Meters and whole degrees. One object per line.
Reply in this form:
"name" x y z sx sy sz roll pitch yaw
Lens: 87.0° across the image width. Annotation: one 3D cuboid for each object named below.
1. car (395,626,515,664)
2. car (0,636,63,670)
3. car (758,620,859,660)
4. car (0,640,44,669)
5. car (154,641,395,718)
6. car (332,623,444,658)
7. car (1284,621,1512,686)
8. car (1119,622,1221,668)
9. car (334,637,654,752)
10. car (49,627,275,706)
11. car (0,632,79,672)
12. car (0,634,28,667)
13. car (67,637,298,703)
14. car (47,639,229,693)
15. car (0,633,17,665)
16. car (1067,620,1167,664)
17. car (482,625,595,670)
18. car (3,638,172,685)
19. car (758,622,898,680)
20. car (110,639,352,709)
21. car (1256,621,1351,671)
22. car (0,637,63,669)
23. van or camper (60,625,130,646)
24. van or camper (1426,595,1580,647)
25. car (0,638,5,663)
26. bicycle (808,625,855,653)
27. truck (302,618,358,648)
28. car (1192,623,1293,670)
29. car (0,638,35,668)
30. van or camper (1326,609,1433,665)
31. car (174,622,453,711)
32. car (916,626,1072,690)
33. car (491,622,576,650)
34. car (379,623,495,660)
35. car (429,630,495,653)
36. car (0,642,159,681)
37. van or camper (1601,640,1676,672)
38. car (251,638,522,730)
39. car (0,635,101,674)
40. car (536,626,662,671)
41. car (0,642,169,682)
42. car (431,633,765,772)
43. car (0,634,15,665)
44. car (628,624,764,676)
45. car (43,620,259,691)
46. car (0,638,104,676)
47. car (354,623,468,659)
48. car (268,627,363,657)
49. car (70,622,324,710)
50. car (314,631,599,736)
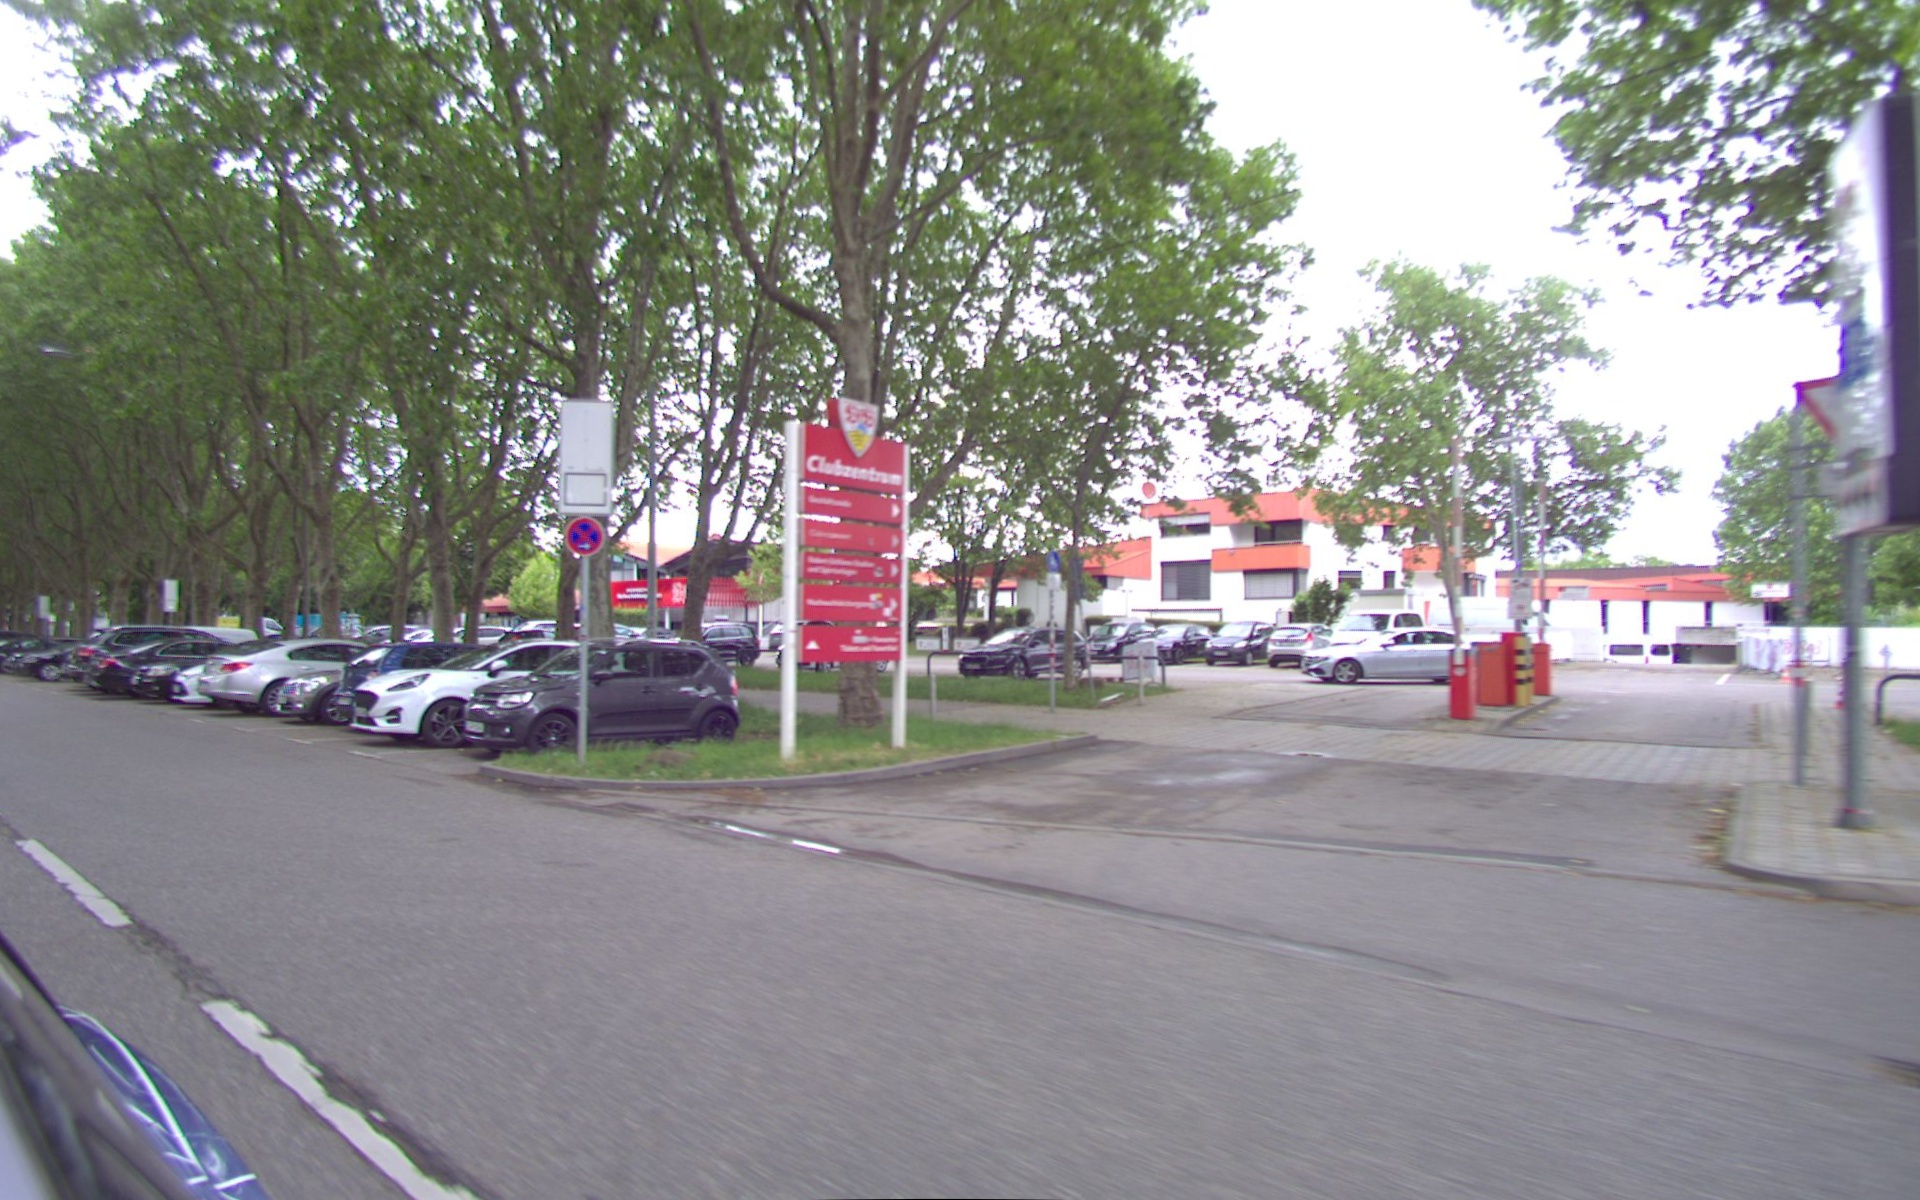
"car" -25.002 2.199 50.239 2.180 1.810 4.895 -2 -3 37
"car" -43.376 2.389 45.836 1.727 1.528 3.889 -2 -5 41
"car" -7.480 1.941 50.318 2.298 1.869 4.526 -1 -2 45
"car" -48.813 2.743 50.813 1.841 1.379 3.948 -1 -1 38
"car" -14.676 1.635 21.836 1.883 1.415 3.948 -1 -1 39
"car" -31.055 2.165 55.088 2.180 1.810 4.895 -1 -1 37
"car" 11.139 1.348 26.042 4.913 1.564 2.098 0 -1 4
"car" 7.812 1.609 37.336 1.957 1.560 4.278 -1 -1 39
"car" -6.856 1.294 15.160 1.912 1.395 3.950 -1 -2 43
"car" -20.571 1.634 26.226 2.035 1.809 4.274 -1 -1 40
"car" -41.503 2.296 44.493 1.750 1.721 3.892 -2 -4 38
"car" -51.083 2.623 52.446 1.855 1.695 3.946 -1 -2 41
"car" -18.767 1.718 24.575 2.012 1.463 4.085 -2 -6 41
"car" -24.226 1.948 29.971 1.757 1.483 3.757 -1 -4 29
"car" -53.048 2.661 53.932 1.855 1.695 3.946 -1 -2 41
"car" 6.086 1.576 38.893 1.957 1.560 4.278 -1 -1 39
"car" -19.067 2.102 45.918 2.026 1.875 4.278 -1 -1 39
"car" -28.267 2.030 32.861 1.755 1.432 3.935 -2 -5 43
"car" -4.224 1.603 32.951 2.129 1.722 4.278 -1 -1 39
"car" -16.670 1.621 23.313 1.964 1.364 4.149 -1 -1 38
"car" 11.773 1.520 34.537 1.788 1.560 4.177 -1 -1 38
"car" -44.865 2.495 47.540 1.704 1.497 3.948 -3 -5 44
"van or camper" -91.595 3.771 107.231 2.241 2.115 5.235 -1 -1 37
"van or camper" 22.362 0.877 41.813 5.297 2.029 1.974 -1 -1 39
"car" -58.439 2.999 58.947 1.855 1.464 3.946 -1 -1 41
"bicycle" -7.306 2.221 57.534 2.799 1.551 1.038 -1 -2 40
"truck" -58.606 3.061 94.179 2.374 2.737 3.948 -1 -1 39
"car" 10.170 1.611 36.218 1.957 1.560 4.278 -1 -1 39
"car" -47.260 2.529 48.602 1.701 1.431 3.954 -2 -4 38
"van or camper" 13.863 1.182 33.299 2.129 1.722 4.278 -1 -1 39
"car" -12.700 1.330 20.124 1.906 1.560 4.223 -1 -5 38
"car" 1.016 1.529 27.872 2.201 1.560 4.278 -1 -1 39
"car" -28.685 2.396 68.164 2.180 1.810 4.895 -1 -1 37
"car" -26.945 2.091 52.269 2.180 1.810 4.895 -1 -1 37
"car" -37.306 3.086 75.842 1.996 1.563 3.984 -1 -1 35
"car" -33.219 2.348 38.125 1.857 1.377 4.420 -2 -5 38
"van or camper" 45.218 3.697 67.529 1.969 2.029 4.005 0 -1 -6
"car" -10.412 1.447 18.585 1.860 1.416 3.947 -1 -1 40
"car" -37.682 2.198 40.742 1.701 1.493 4.420 -2 -4 38
"car" -15.086 1.973 42.484 2.294 1.739 4.507 -1 -1 39
"car" -31.392 2.237 36.334 1.901 1.358 4.416 -2 -5 41
"car" -4.808 1.260 13.856 1.804 1.552 3.952 -1 -2 41
"car" -54.777 2.759 55.640 1.855 1.695 3.946 -1 -2 41
"car" -9.832 1.811 37.937 2.294 1.775 4.474 -1 -1 39
"car" -22.315 1.561 28.066 1.864 1.824 4.278 -2 -4 36
"car" -35.555 2.185 38.794 1.701 1.409 3.892 -2 -4 38
"car" -29.048 2.128 53.700 2.180 1.810 4.895 -1 -1 37
"car" -40.145 2.664 63.131 1.997 1.734 4.509 -2 -4 37
"car" -17.325 1.510 23.167 1.866 1.824 4.273 -2 -5 40
"car" -8.438 1.310 17.218 1.831 1.505 3.954 -1 -1 40
